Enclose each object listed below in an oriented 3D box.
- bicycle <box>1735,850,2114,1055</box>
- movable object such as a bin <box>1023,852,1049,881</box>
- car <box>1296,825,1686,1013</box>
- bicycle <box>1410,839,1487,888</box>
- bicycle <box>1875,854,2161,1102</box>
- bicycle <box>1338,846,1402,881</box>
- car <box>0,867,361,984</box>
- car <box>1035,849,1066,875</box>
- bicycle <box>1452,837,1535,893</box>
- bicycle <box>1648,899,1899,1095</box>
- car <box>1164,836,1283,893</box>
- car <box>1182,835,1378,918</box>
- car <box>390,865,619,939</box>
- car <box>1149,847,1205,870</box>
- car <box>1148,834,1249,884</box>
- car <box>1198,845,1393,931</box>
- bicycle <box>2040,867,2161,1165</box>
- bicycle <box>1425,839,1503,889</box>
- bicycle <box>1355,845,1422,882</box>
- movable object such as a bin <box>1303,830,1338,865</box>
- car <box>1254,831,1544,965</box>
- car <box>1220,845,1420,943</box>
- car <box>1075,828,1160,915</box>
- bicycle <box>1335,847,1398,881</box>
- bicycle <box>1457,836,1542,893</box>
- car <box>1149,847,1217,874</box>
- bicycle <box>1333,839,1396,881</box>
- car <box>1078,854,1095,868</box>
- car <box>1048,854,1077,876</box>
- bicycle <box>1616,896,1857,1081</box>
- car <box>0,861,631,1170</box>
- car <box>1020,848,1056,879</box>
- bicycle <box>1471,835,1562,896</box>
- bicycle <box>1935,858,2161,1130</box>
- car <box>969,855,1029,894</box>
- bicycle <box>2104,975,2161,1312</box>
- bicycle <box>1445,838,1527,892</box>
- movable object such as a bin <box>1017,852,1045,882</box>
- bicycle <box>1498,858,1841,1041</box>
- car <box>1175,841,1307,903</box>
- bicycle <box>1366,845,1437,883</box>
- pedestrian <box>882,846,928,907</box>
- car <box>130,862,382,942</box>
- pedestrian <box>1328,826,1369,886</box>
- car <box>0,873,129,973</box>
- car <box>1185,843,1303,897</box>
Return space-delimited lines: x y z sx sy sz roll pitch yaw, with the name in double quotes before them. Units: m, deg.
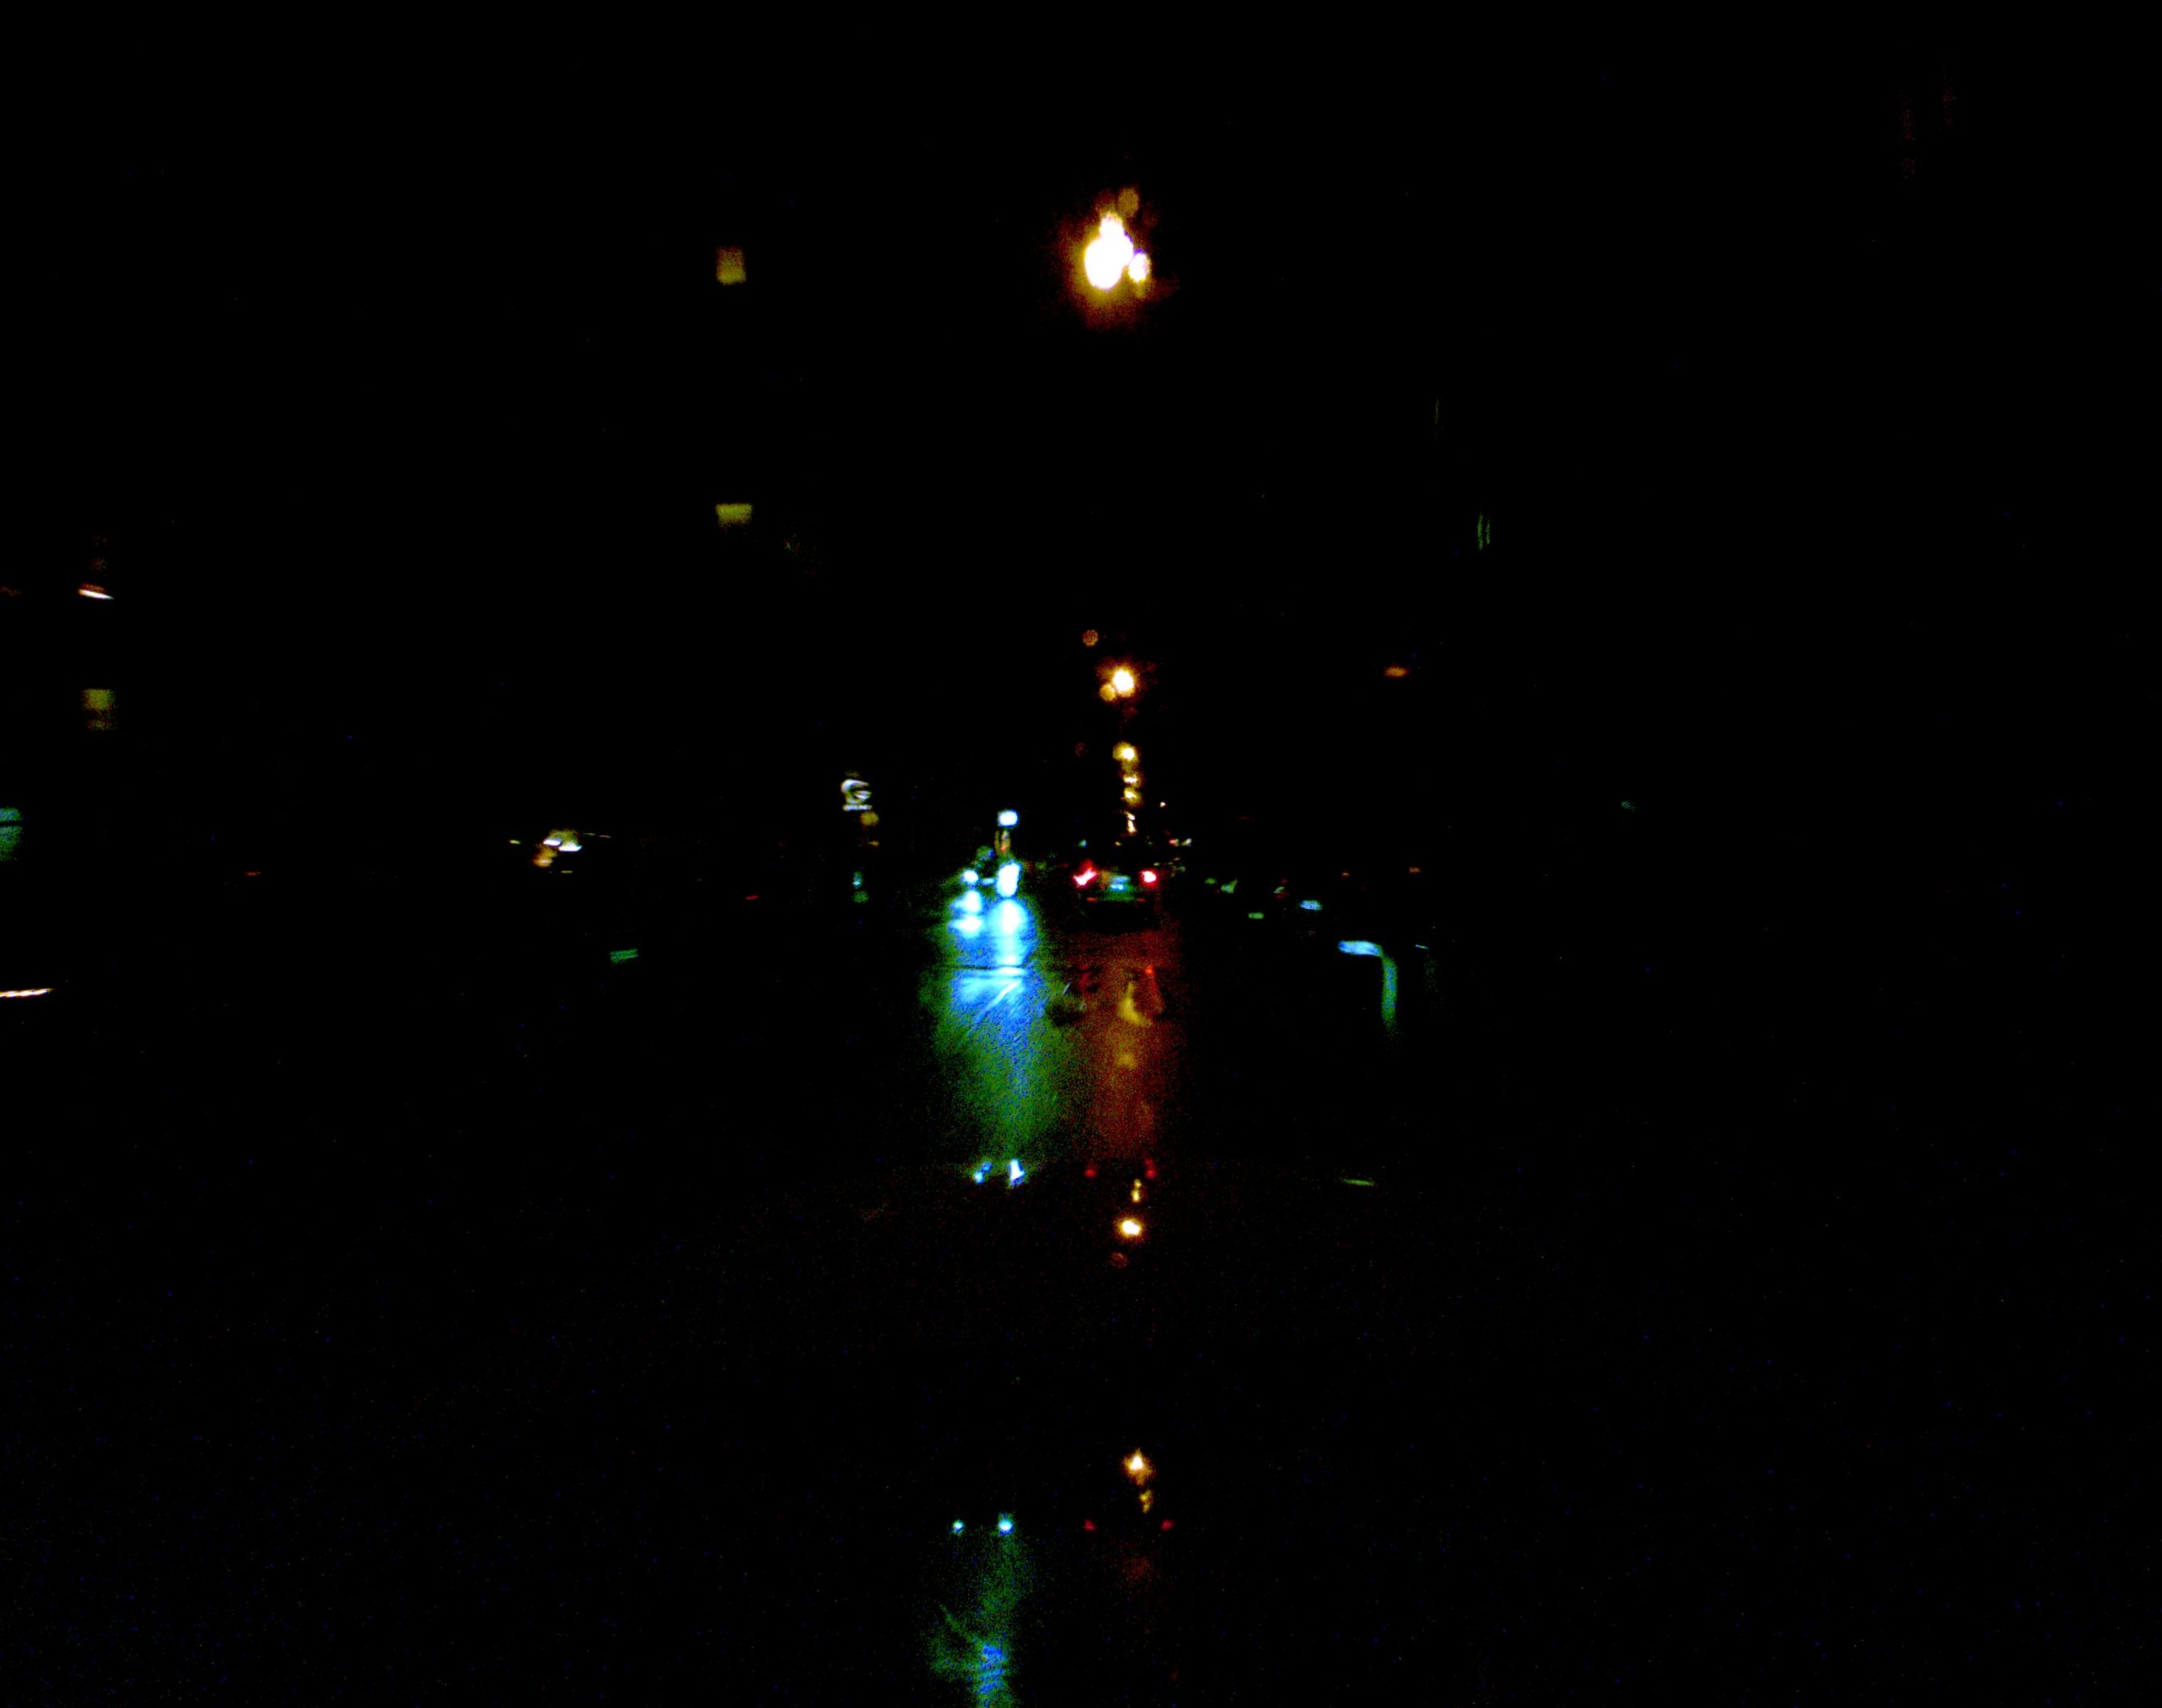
"bicycle" 5.148 0.598 5.061 1.585 1.158 0.541 -3 0 11
"movable object such as a bin" -2.256 0.627 41.119 1.159 1.459 1.109 0 0 5
"car" 4.383 0.575 8.735 3.715 1.522 1.645 -3 0 -22
"bicycle" 9.702 0.249 21.517 1.682 1.146 0.664 -4 0 -5
"bicycle" 5.216 0.624 4.312 1.590 1.158 0.418 -3 0 -1
"bicycle" 9.962 0.334 28.079 1.967 1.054 0.509 -4 0 -4
"car" -14.043 1.071 12.807 3.916 1.571 1.718 -2 0 3
"car" -1.912 0.482 52.075 1.597 1.552 4.029 0 1 3
"bicycle" 9.596 0.248 18.969 1.682 1.146 0.428 -4 0 -5
"bicycle" 3.798 0.772 4.489 1.128 0.974 0.249 -3 0 0
"car" 5.365 0.374 30.537 4.263 1.858 1.699 -4 0 -32
"car" 4.623 0.472 18.995 4.106 1.764 1.847 -1 0 -19
"car" -13.050 1.052 18.600 3.970 1.538 1.793 -1 0 3
"car" 6.948 0.335 58.823 3.685 1.460 1.593 -3 0 -21
"car" 5.811 0.217 40.028 4.743 2.248 1.926 -2 0 -33
"car" 4.398 0.642 16.799 3.564 1.611 1.702 -1 0 -19
"bicycle" 5.086 0.623 3.424 1.590 1.158 0.418 -3 0 -1
"bicycle" 9.750 0.250 20.746 1.682 1.146 0.596 -4 0 -5
"bicycle" 10.107 0.316 26.767 1.967 1.054 0.509 -4 0 -4
"movable object such as a bin" 10.896 -0.273 37.028 1.204 1.451 0.999 -6 0 3
"car" 4.556 0.550 11.702 3.715 1.522 1.645 -3 0 -22
"car" 4.153 0.640 14.242 3.047 1.552 1.496 -1 0 -19
"car" 1.001 0.446 21.473 1.985 2.050 4.004 -1 -1 4
"bicycle" 10.032 0.349 28.637 1.967 1.054 0.509 -4 0 -4
"bicycle" 9.455 0.226 18.399 1.682 1.146 0.428 -4 0 -5
"car" 6.508 0.400 51.649 4.014 1.552 1.786 -2 0 -32
"bicycle" 10.260 0.217 29.536 1.960 1.335 0.784 -4 0 9
"car" 0.637 0.742 90.199 1.580 1.482 3.798 -1 0 5
"car" -1.252 0.747 57.289 1.679 1.455 4.319 0 1 3
"bicycle" 3.822 0.775 4.774 1.128 0.948 0.267 -5 0 0
"car" -5.017 0.803 5.771 1.540 1.443 3.565 1 0 2
"car" -2.401 0.522 46.327 1.597 1.706 3.724 -1 0 3
"bicycle" 9.193 0.245 17.202 1.682 1.146 0.428 -4 0 -5
"bicycle" 5.086 0.616 3.868 1.590 1.158 0.418 -3 0 -1
"car" -3.118 0.737 31.625 1.647 1.359 4.226 -1 0 3
"bicycle" 3.683 0.800 2.282 1.207 0.948 0.302 -5 0 -1
"bicycle" 9.685 0.248 19.500 1.682 1.146 0.485 -4 0 -5
"movable object such as a bin" -2.422 0.639 39.931 1.202 1.459 1.109 0 0 5
"bicycle" 4.151 0.661 5.866 1.879 1.158 0.681 -3 0 6
"car" 4.933 0.497 25.043 3.816 1.728 1.724 -1 0 -31
"bicycle" 10.051 0.306 25.546 1.967 1.054 0.509 -4 0 -4
"pedestrian" -5.274 0.650 24.444 1.127 1.782 0.789 -1 0 3
"car" -18.917 1.065 18.801 3.970 1.680 1.888 -1 0 3
"pedestrian" 8.683 0.063 26.488 0.836 1.835 0.947 -6 -1 -1
"car" -18.389 1.155 13.108 3.971 1.448 1.856 -3 0 2
"car" 5.557 0.491 27.738 3.786 1.728 1.700 -1 0 -30
